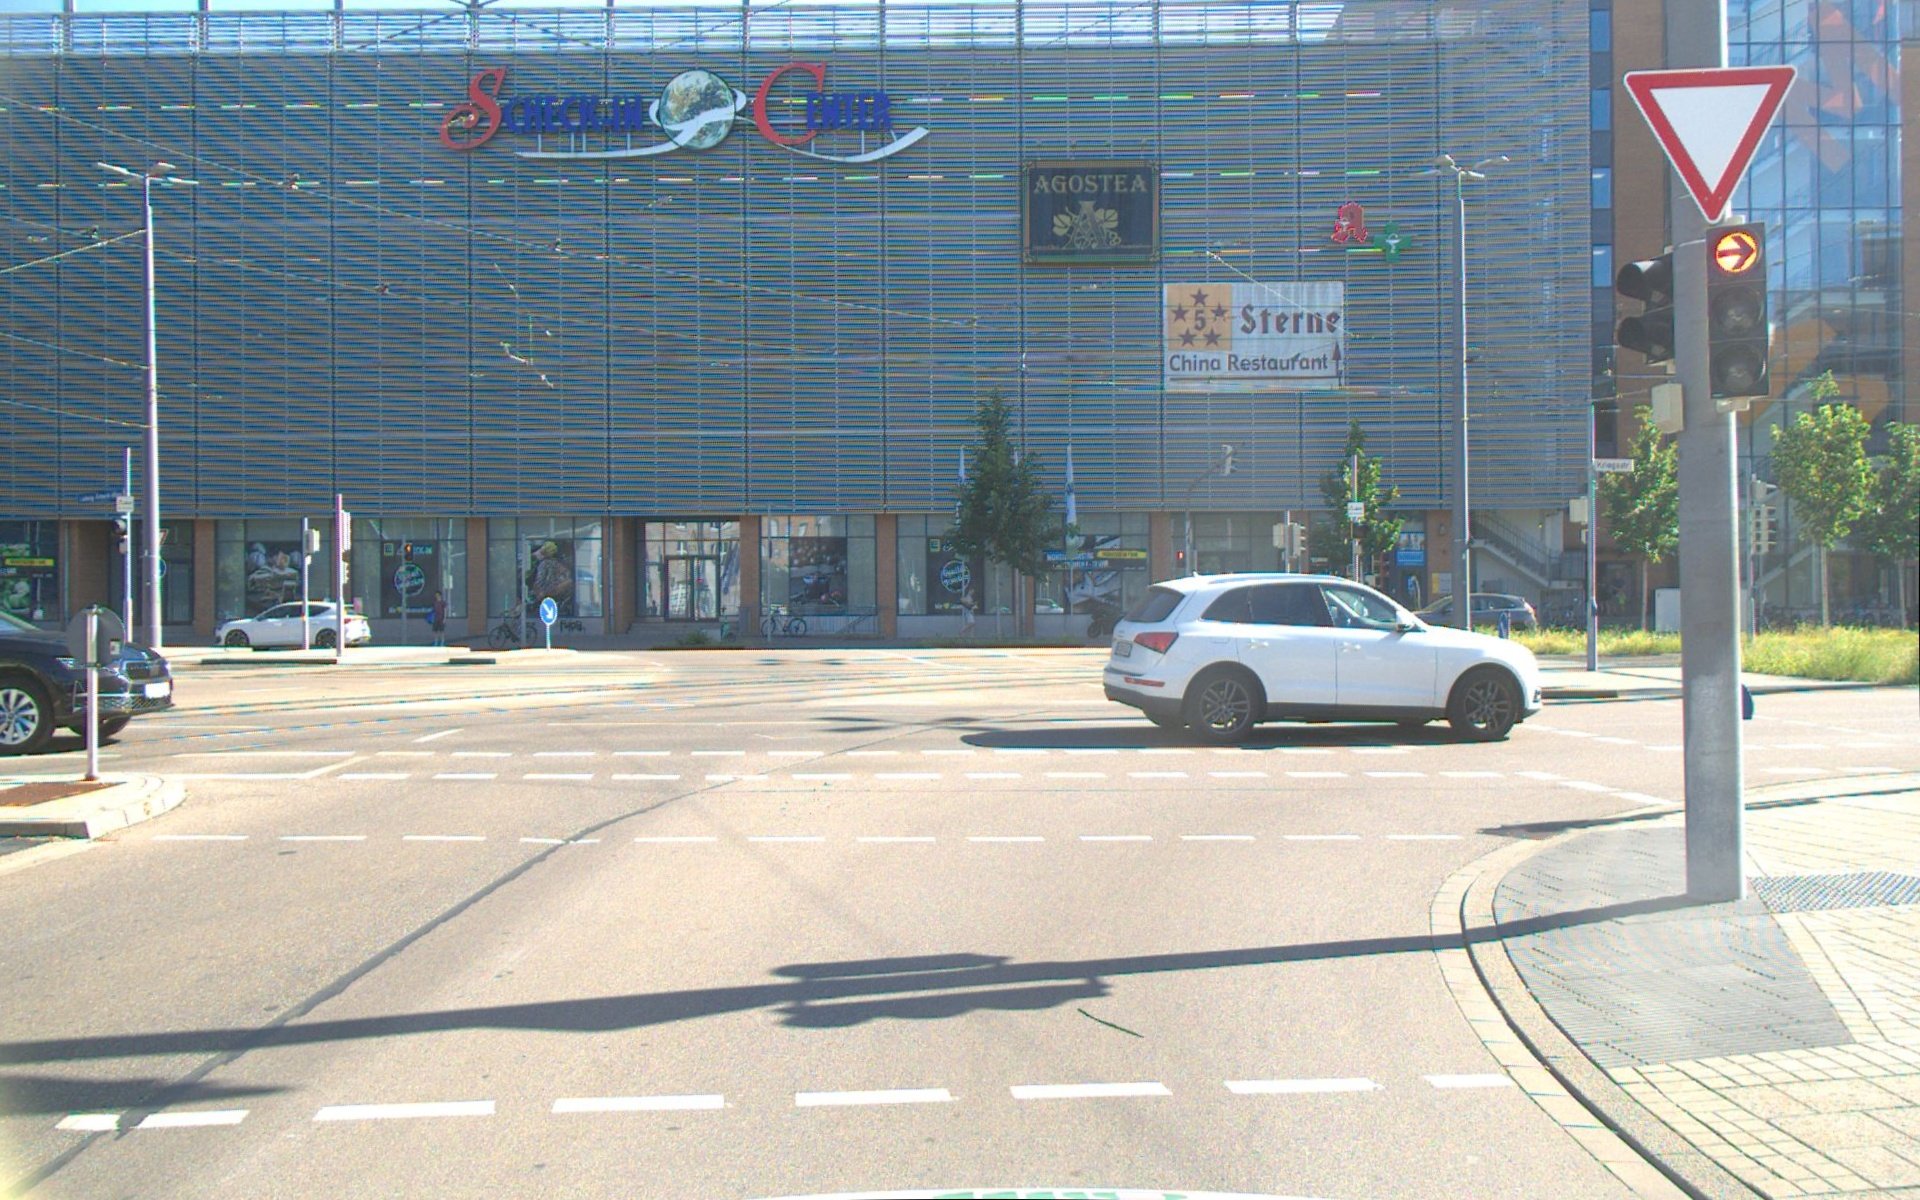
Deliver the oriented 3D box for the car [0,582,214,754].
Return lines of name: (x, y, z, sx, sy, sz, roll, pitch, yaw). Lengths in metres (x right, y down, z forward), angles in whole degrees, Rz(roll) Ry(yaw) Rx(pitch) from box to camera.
car: (-9.568, 0.597, 15.192, 4.574, 1.487, 1.833, 0, 0, -2)

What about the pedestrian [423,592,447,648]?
pedestrian: (-17.338, 0.663, 54.673, 0.683, 1.829, 0.727, -2, 0, -17)

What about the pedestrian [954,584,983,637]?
pedestrian: (0.303, 0.380, 59.767, 0.930, 1.860, 0.846, -2, -4, 5)

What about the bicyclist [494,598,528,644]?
bicyclist: (-14.798, 0.691, 54.549, 0.663, 1.452, 0.844, 0, 2, 42)

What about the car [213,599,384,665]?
car: (-19.516, 0.927, 48.924, 4.203, 1.673, 1.840, 3, -1, -2)

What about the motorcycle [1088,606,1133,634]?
motorcycle: (5.530, 0.730, 60.712, 1.605, 1.022, 0.447, 1, 0, 6)

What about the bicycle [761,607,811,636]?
bicycle: (-6.364, 0.780, 60.438, 1.783, 1.006, 0.556, 0, 1, -11)

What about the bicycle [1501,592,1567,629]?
bicycle: (21.290, 0.394, 61.356, 2.209, 1.318, 0.605, 1, -1, -2)

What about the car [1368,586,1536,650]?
car: (13.670, 0.498, 46.051, 4.063, 1.495, 1.840, 3, -1, -2)

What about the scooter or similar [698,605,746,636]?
scooter or similar: (-8.745, 0.749, 60.785, 1.759, 1.085, 0.611, 0, 1, -9)

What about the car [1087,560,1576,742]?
car: (3.777, 0.474, 17.169, 4.583, 1.737, 1.933, 0, 0, -10)

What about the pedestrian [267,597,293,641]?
pedestrian: (-25.348, 0.698, 61.646, 0.646, 1.629, 0.594, 1, -1, 18)

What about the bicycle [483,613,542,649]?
bicycle: (-14.766, 1.008, 54.625, 0.559, 1.105, 1.852, 0, 2, 42)
